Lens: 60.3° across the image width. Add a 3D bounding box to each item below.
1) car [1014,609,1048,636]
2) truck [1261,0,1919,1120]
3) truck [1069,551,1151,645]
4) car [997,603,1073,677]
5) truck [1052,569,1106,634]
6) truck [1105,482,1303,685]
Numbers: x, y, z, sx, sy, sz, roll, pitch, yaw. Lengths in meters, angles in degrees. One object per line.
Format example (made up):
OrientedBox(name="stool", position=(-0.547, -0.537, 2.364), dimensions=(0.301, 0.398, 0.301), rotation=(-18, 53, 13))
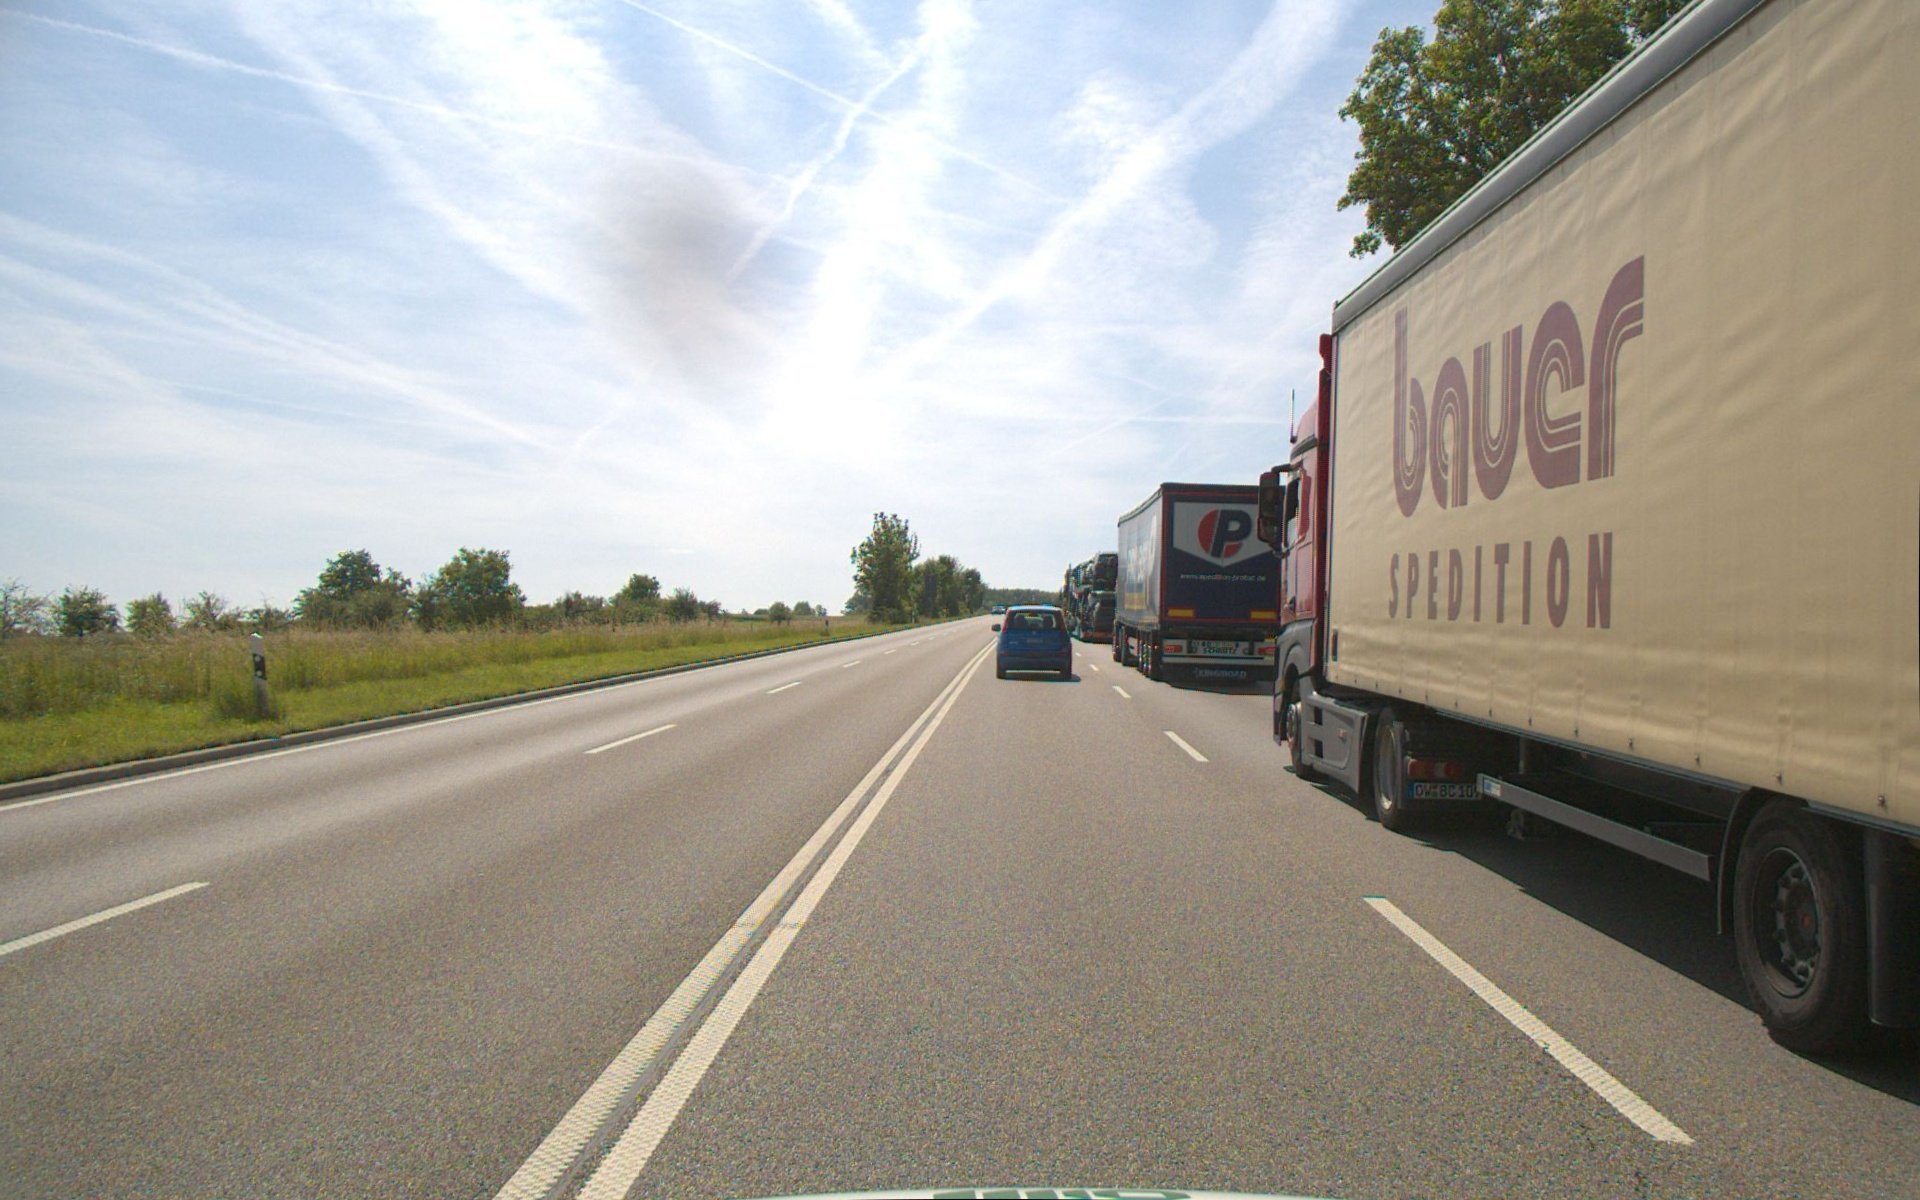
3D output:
OrientedBox(name="car", position=(3.866, 1.232, 90.744), dimensions=(1.668, 1.400, 4.603), rotation=(2, 0, 1))
OrientedBox(name="truck", position=(4.426, -0.539, 8.642), dimensions=(2.945, 4.253, 16.715), rotation=(1, 0, 1))
OrientedBox(name="truck", position=(7.079, -0.038, 80.478), dimensions=(2.983, 3.979, 18.402), rotation=(1, 0, 2))
OrientedBox(name="car", position=(1.712, 0.865, 37.073), dimensions=(1.597, 1.558, 3.916), rotation=(1, -1, 4))
OrientedBox(name="truck", position=(7.911, 0.139, 112.122), dimensions=(2.983, 3.979, 18.402), rotation=(1, 0, 2))
OrientedBox(name="truck", position=(5.537, -0.294, 40.715), dimensions=(2.984, 3.979, 15.618), rotation=(1, 0, 2))
